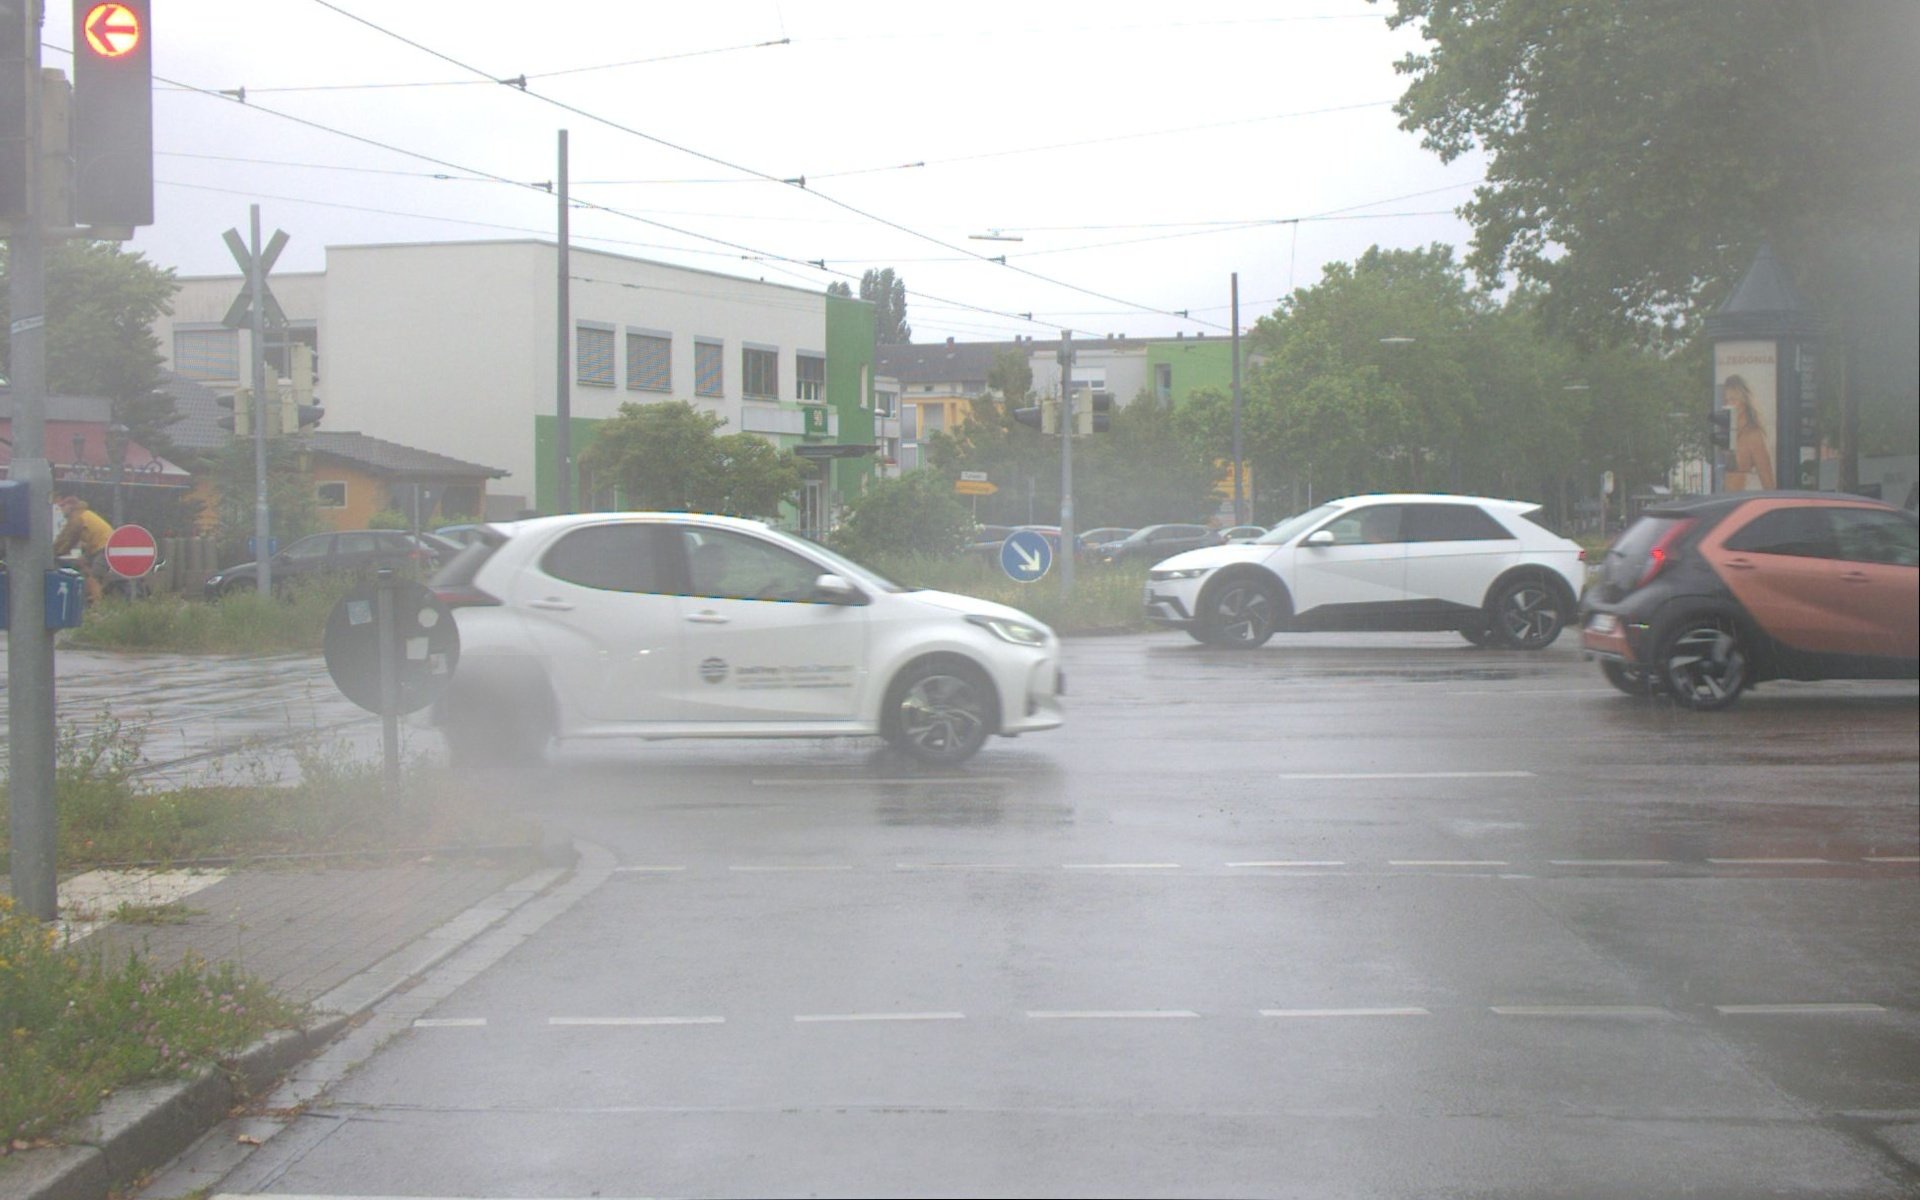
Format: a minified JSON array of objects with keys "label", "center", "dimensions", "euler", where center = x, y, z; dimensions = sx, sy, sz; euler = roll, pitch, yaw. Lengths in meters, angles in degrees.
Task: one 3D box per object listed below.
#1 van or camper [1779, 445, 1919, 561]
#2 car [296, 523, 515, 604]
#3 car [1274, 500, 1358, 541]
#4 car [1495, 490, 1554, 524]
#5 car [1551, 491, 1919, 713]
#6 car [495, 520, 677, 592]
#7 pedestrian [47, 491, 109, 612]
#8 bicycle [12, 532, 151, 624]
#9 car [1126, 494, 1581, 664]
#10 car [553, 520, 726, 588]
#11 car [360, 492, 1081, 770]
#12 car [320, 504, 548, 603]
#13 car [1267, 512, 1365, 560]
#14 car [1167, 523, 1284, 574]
[{"label":"van or camper","center":[22.480,-2.325,82.614],"dimensions":[5.225,2.688,2.241],"euler":[2,2,18]},{"label":"car","center":[-10.381,-0.696,64.482],"dimensions":[3.750,1.437,1.762],"euler":[-1,1,2]},{"label":"car","center":[17.964,-4.005,173.454],"dimensions":[3.989,2.007,1.833],"euler":[-1,1,13]},{"label":"car","center":[35.279,-5.806,214.880],"dimensions":[3.446,2.007,1.806],"euler":[-1,1,16]},{"label":"car","center":[6.343,-0.020,24.651],"dimensions":[3.817,1.494,1.652],"euler":[-1,1,-6]},{"label":"car","center":[-7.937,-0.943,72.904],"dimensions":[3.749,1.437,1.763],"euler":[-1,1,-7]},{"label":"pedestrian","center":[-10.873,-0.603,42.384],"dimensions":[0.576,1.470,0.500],"euler":[-1,1,5]},{"label":"bicycle","center":[-10.826,-0.271,42.382],"dimensions":[1.562,1.098,0.500],"euler":[-1,1,5]},{"label":"car","center":[4.085,-0.234,36.031],"dimensions":[4.460,1.650,1.652],"euler":[-1,1,-6]},{"label":"car","center":[-7.119,-1.025,76.194],"dimensions":[3.749,1.437,1.763],"euler":[-1,1,-7]},{"label":"car","center":[-1.434,0.153,20.379],"dimensions":[4.064,1.494,1.652],"euler":[-1,1,-7]},{"label":"car","center":[-10.379,-0.917,67.936],"dimensions":[4.136,1.853,1.673],"euler":[-1,1,6]},{"label":"car","center":[15.265,-2.749,147.488],"dimensions":[4.136,1.969,1.673],"euler":[-1,1,6]},{"label":"car","center":[9.992,-1.937,129.625],"dimensions":[4.134,1.853,1.674],"euler":[-1,1,-5]}]
